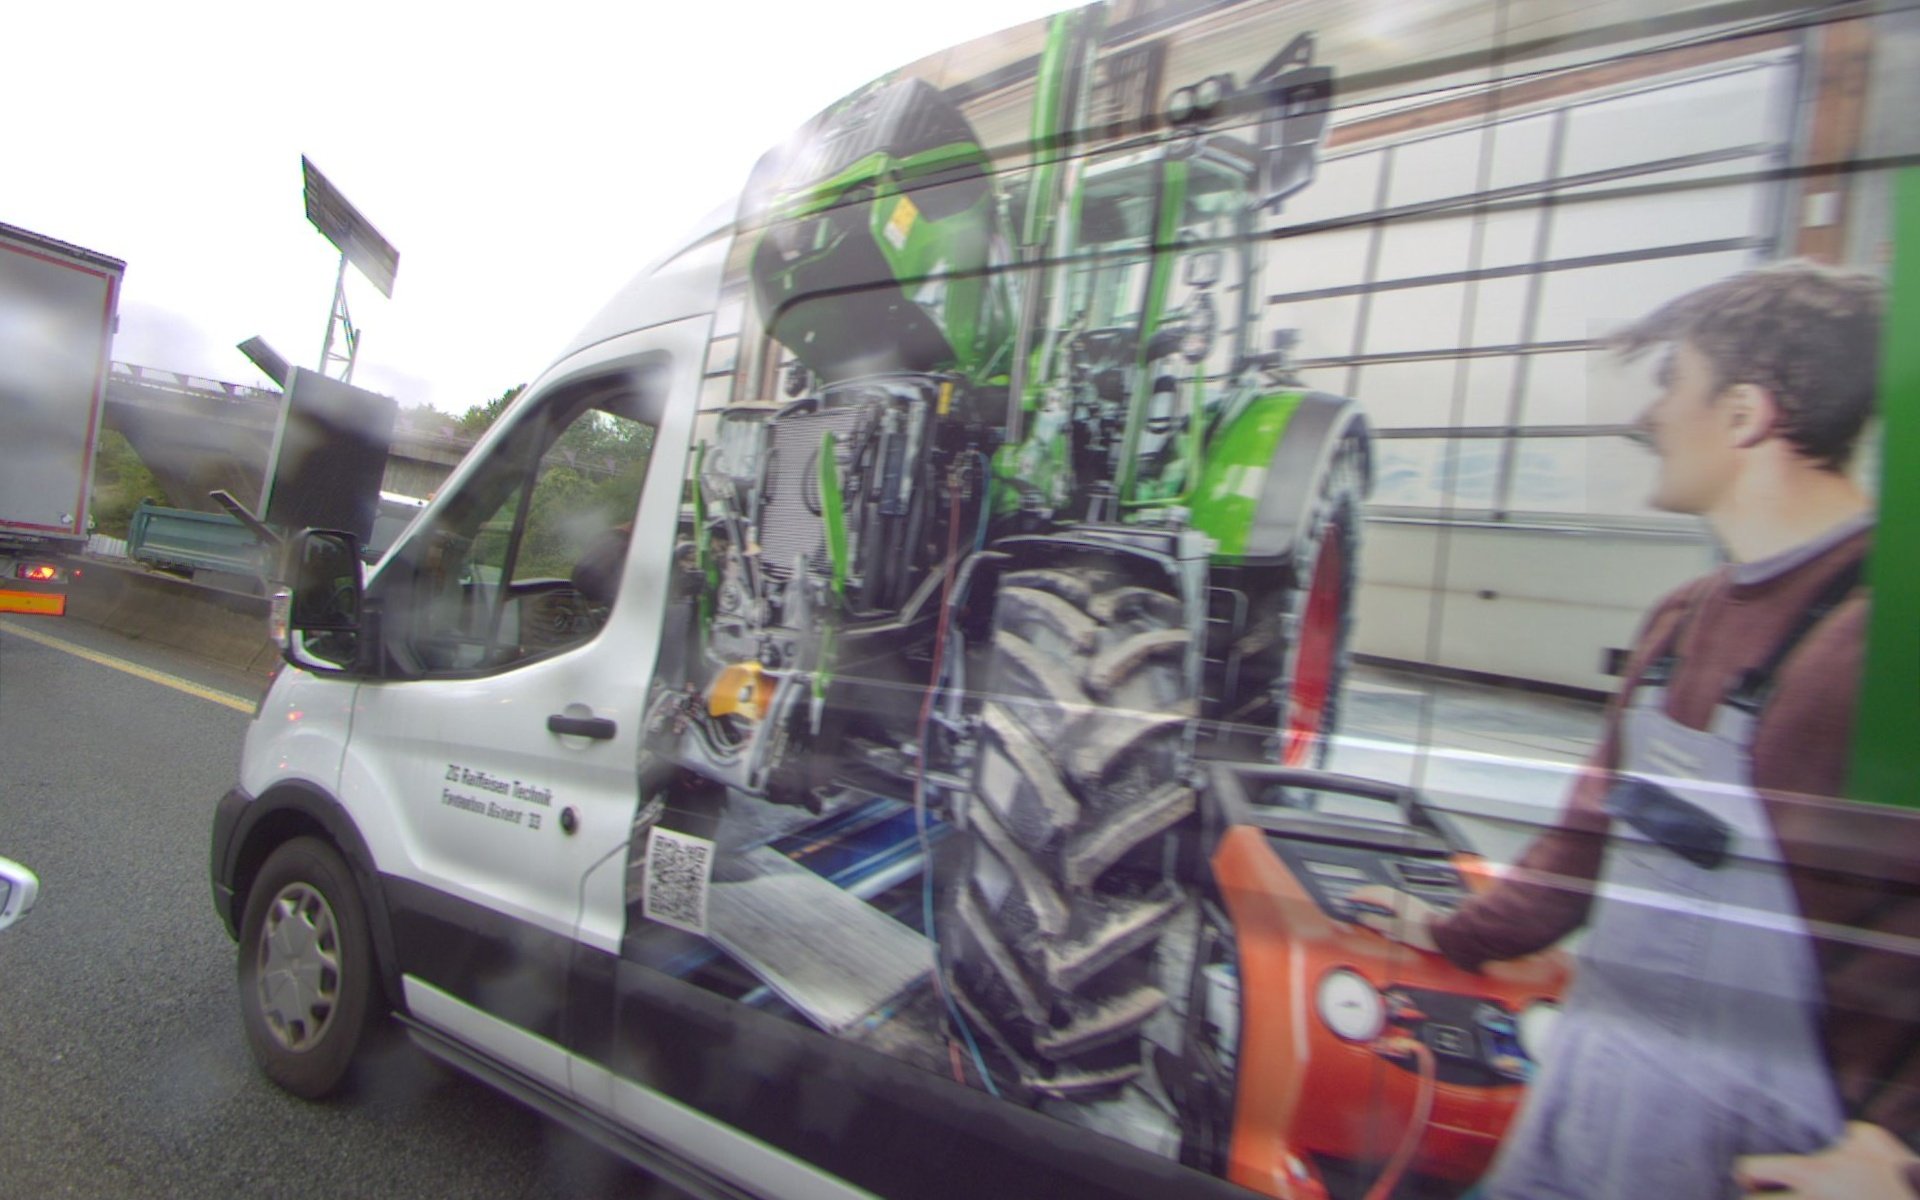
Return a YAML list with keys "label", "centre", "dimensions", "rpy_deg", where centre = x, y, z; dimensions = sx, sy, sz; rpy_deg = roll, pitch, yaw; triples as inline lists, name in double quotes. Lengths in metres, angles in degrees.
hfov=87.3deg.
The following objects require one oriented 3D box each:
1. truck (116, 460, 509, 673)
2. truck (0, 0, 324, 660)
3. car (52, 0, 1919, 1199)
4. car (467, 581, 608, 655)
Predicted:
- label: "truck"
  centre: [-12.815, -0.788, 19.544]
  dimensions: [8.967, 3.168, 2.525]
  rpy_deg: [6, -1, 32]
- label: "truck"
  centre: [-16.782, -3.329, 14.482]
  dimensions: [20.037, 5.739, 3.987]
  rpy_deg: [6, -1, 32]
- label: "car"
  centre: [0.407, 0.192, 2.482]
  dimensions: [6.016, 2.707, 2.148]
  rpy_deg: [6, -1, 32]
- label: "car"
  centre: [-14.165, 0.579, 33.619]
  dimensions: [4.651, 1.850, 1.945]
  rpy_deg: [6, -2, 34]
